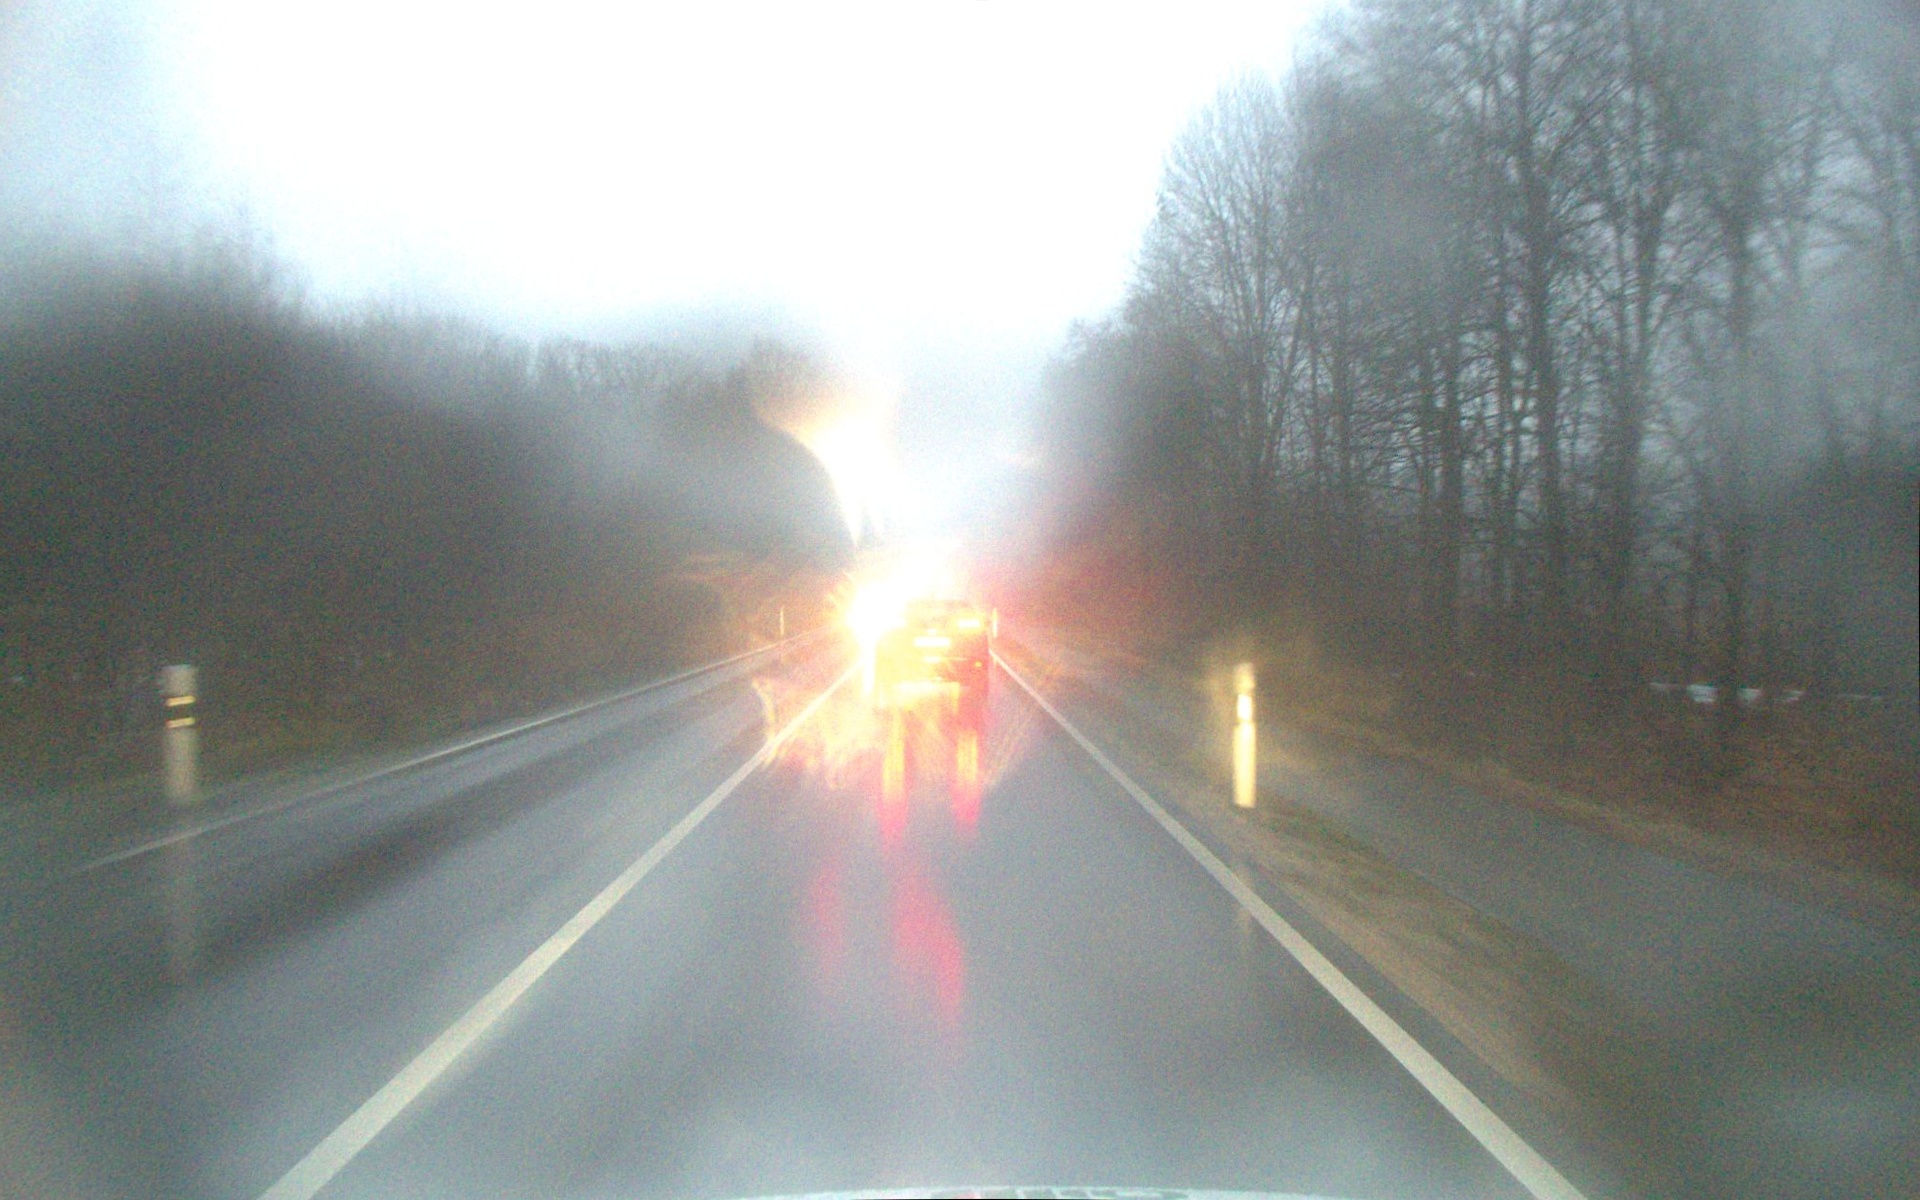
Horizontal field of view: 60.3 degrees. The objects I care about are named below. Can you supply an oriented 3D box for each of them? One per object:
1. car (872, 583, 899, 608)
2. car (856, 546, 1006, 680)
[{"bbox_3d":[-4.845,-0.330,107.344,1.713,1.579,3.992,0,1,-2],"label":"car"},{"bbox_3d":[-0.477,0.155,26.540,2.154,1.910,4.826,1,1,-1],"label":"car"}]
